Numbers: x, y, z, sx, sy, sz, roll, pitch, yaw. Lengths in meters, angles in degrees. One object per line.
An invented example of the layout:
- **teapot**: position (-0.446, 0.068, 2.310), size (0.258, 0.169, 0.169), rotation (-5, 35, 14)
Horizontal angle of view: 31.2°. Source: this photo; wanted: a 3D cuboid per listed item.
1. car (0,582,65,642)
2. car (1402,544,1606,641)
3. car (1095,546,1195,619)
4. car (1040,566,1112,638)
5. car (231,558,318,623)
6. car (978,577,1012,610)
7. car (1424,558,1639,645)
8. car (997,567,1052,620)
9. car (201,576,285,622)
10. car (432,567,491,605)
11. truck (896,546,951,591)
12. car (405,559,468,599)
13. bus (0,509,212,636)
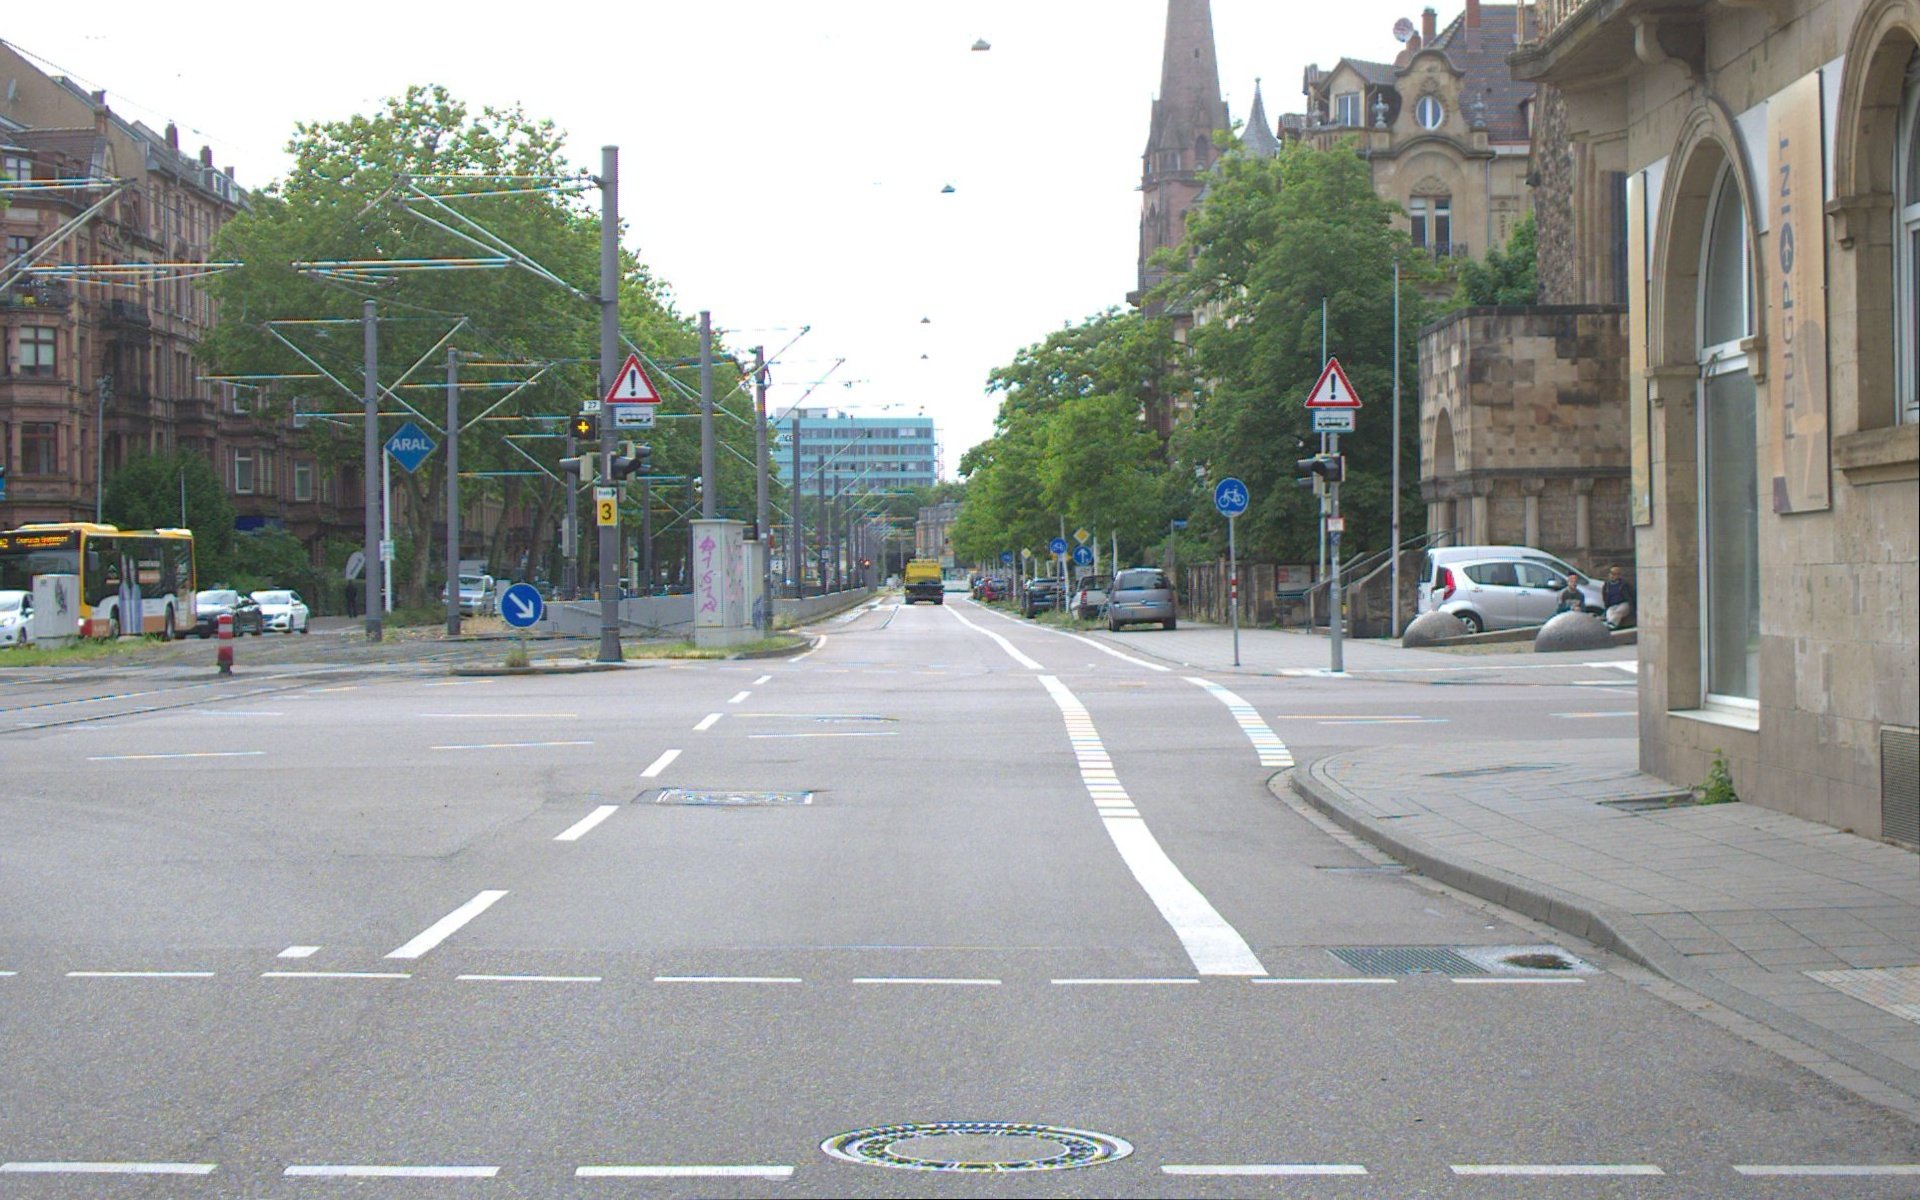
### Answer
- **car**: position (-21.914, 0.260, 79.042), size (1.656, 1.316, 3.638), rotation (1, 1, 1)
- **car**: position (10.789, -0.159, 68.402), size (3.713, 1.849, 2.000), rotation (1, 0, 0)
- **car**: position (4.864, -0.470, 89.981), size (1.994, 1.849, 4.024), rotation (1, 1, 12)
- **car**: position (3.340, 0.034, 99.623), size (1.993, 2.007, 4.000), rotation (1, 1, 1)
- **car**: position (-21.842, -0.319, 109.599), size (1.993, 2.007, 4.000), rotation (1, 1, -1)
- **car**: position (2.187, -0.398, 216.834), size (1.993, 2.007, 4.000), rotation (1, 1, -1)
- **car**: position (10.761, 0.018, 64.939), size (3.713, 1.558, 2.000), rotation (1, 0, 0)
- **car**: position (2.533, -0.273, 135.986), size (1.993, 2.007, 4.000), rotation (1, 1, -1)
- **car**: position (-21.302, -0.047, 102.188), size (1.656, 1.316, 3.638), rotation (1, 1, 1)
- **car**: position (-21.634, -0.636, 149.333), size (1.993, 1.605, 4.000), rotation (1, 1, -1)
- **truck**: position (-2.268, -2.023, 216.949), size (3.055, 2.760, 9.815), rotation (0, 1, 2)
- **car**: position (-21.542, -0.876, 141.517), size (1.993, 1.605, 4.000), rotation (1, 1, -1)
- **bus**: position (-22.481, -0.729, 89.091), size (3.231, 3.025, 12.311), rotation (1, 1, 1)
